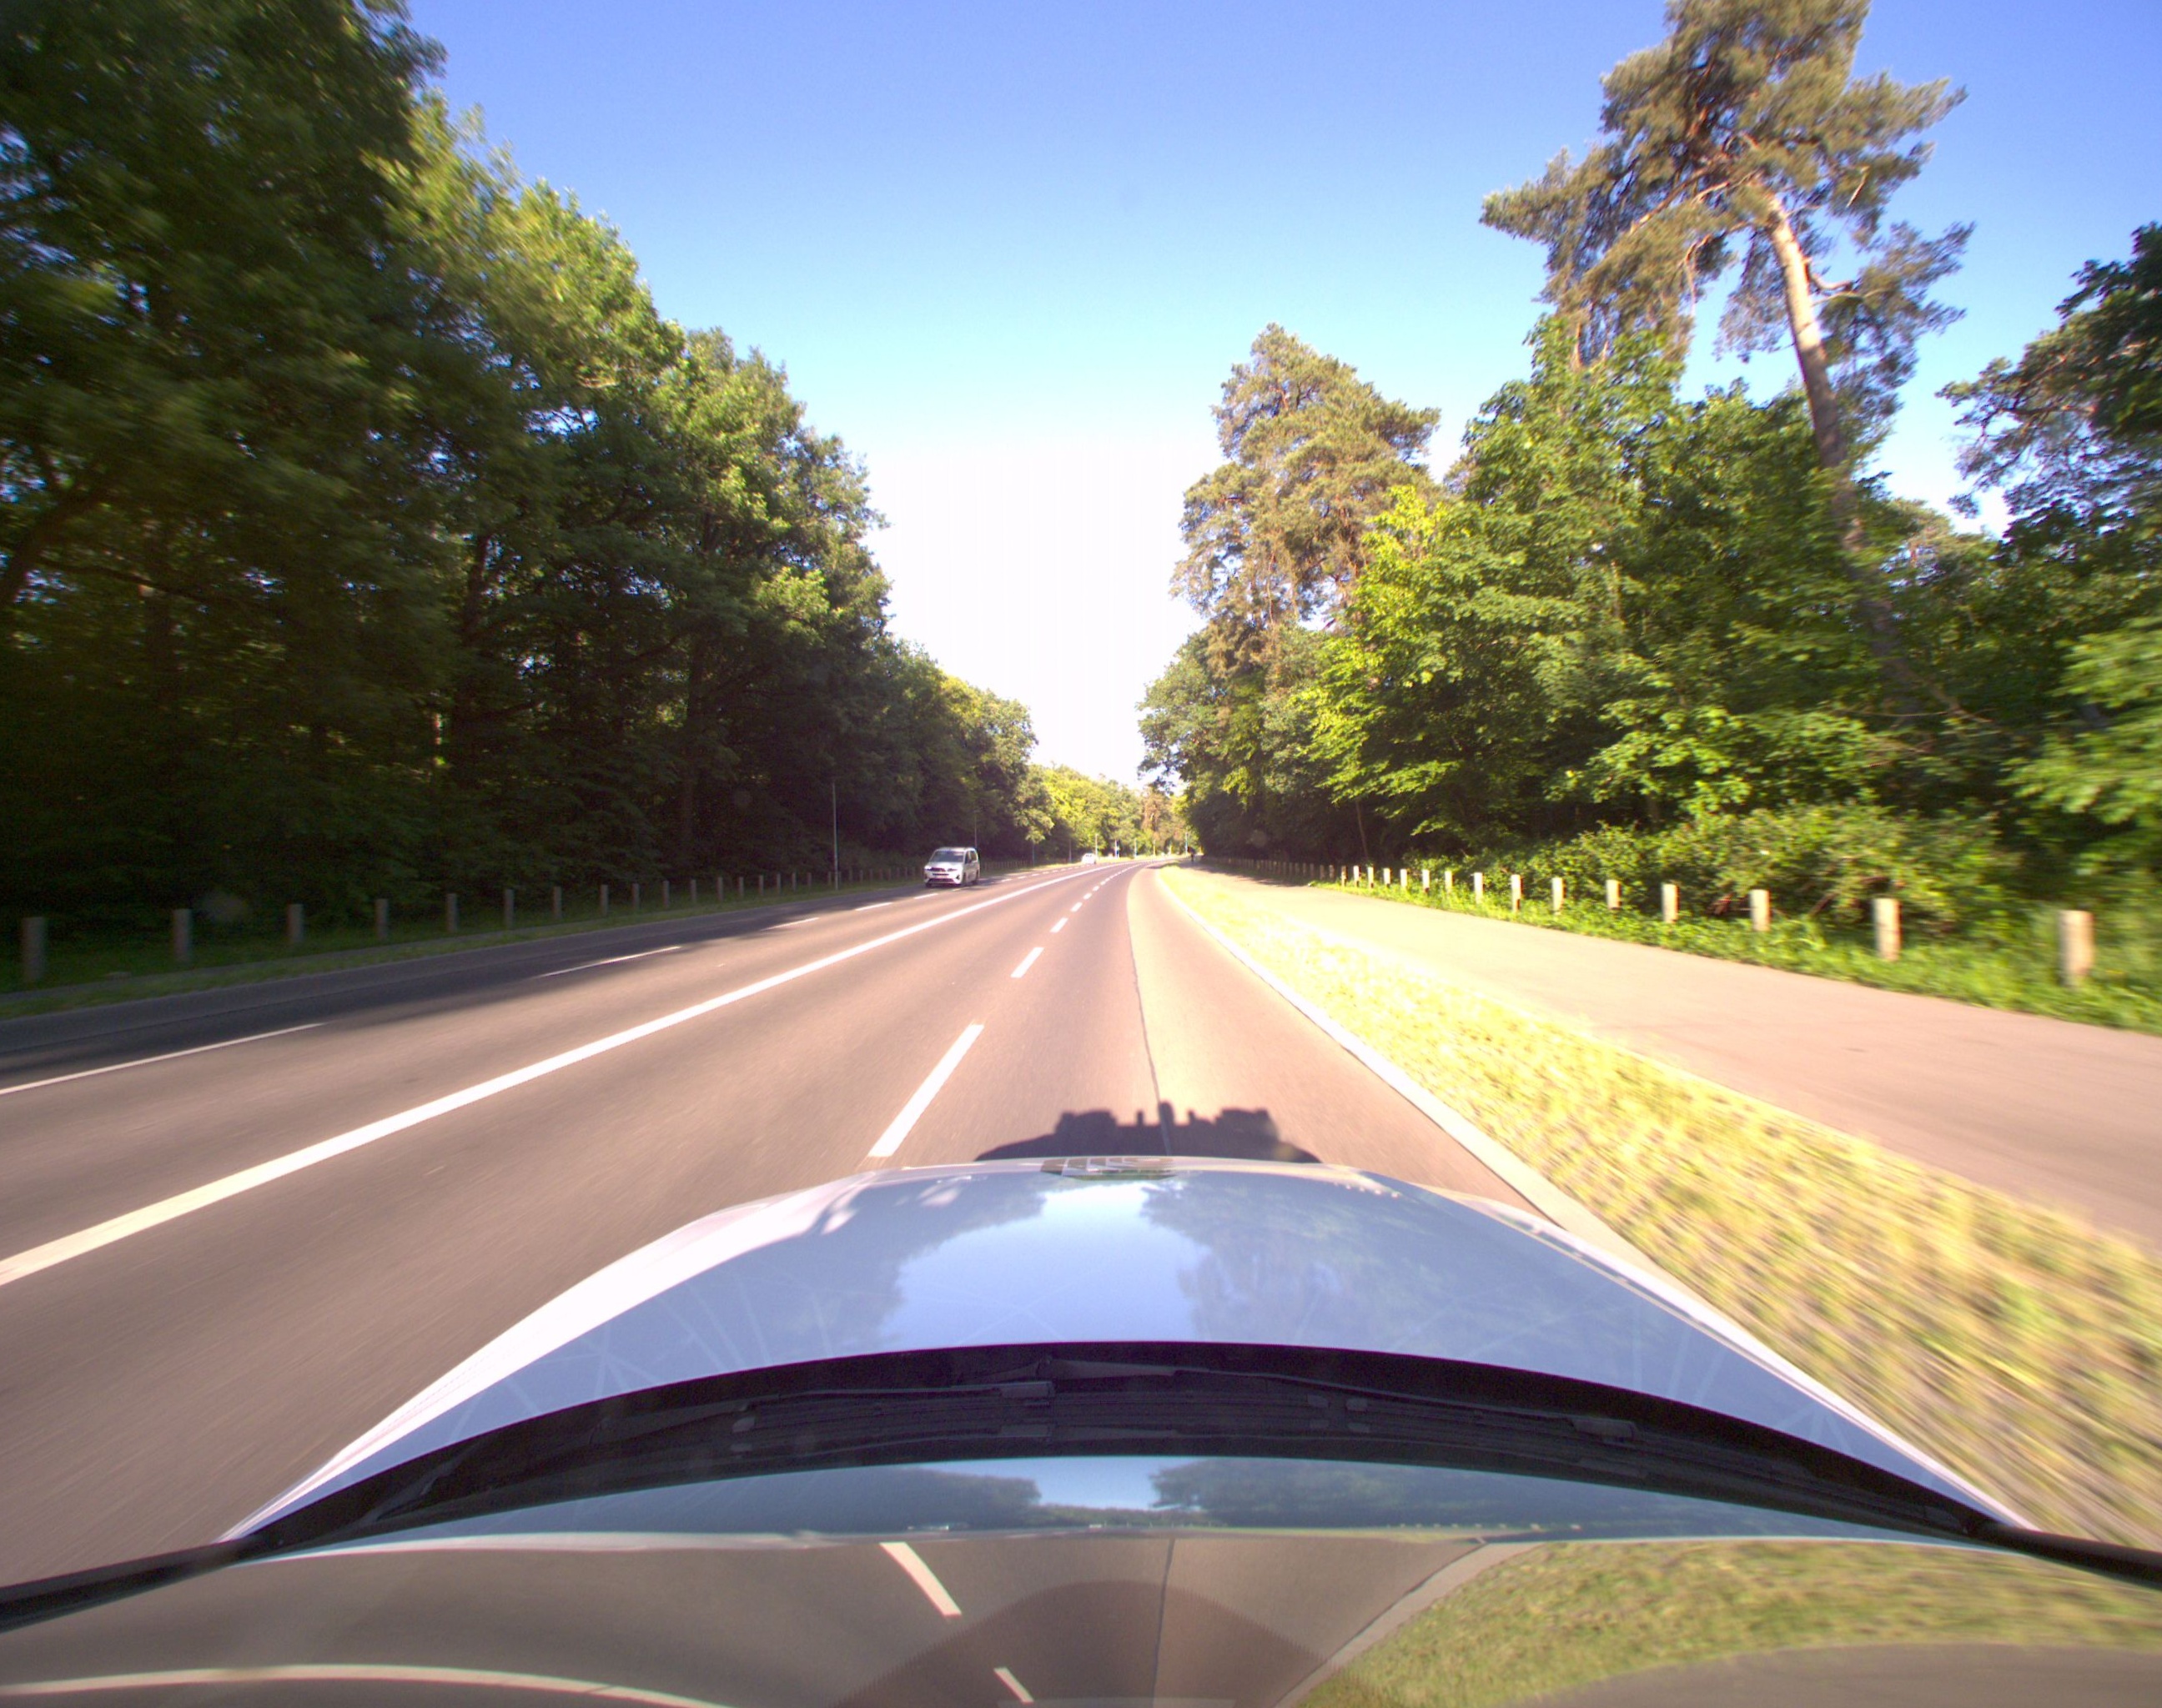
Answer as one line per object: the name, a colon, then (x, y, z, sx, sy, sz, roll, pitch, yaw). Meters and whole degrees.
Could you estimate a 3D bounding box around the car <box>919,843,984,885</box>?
car: (-6.001, 0.436, 38.378, 1.992, 1.826, 5.004, 1, 0, 3)

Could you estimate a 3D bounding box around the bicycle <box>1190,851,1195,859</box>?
bicycle: (15.381, 0.159, 112.598, 0.708, 1.056, 2.057, -1, 0, 8)

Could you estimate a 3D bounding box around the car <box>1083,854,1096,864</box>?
car: (1.229, 0.665, 117.352, 1.579, 1.437, 4.316, 1, 0, 6)
